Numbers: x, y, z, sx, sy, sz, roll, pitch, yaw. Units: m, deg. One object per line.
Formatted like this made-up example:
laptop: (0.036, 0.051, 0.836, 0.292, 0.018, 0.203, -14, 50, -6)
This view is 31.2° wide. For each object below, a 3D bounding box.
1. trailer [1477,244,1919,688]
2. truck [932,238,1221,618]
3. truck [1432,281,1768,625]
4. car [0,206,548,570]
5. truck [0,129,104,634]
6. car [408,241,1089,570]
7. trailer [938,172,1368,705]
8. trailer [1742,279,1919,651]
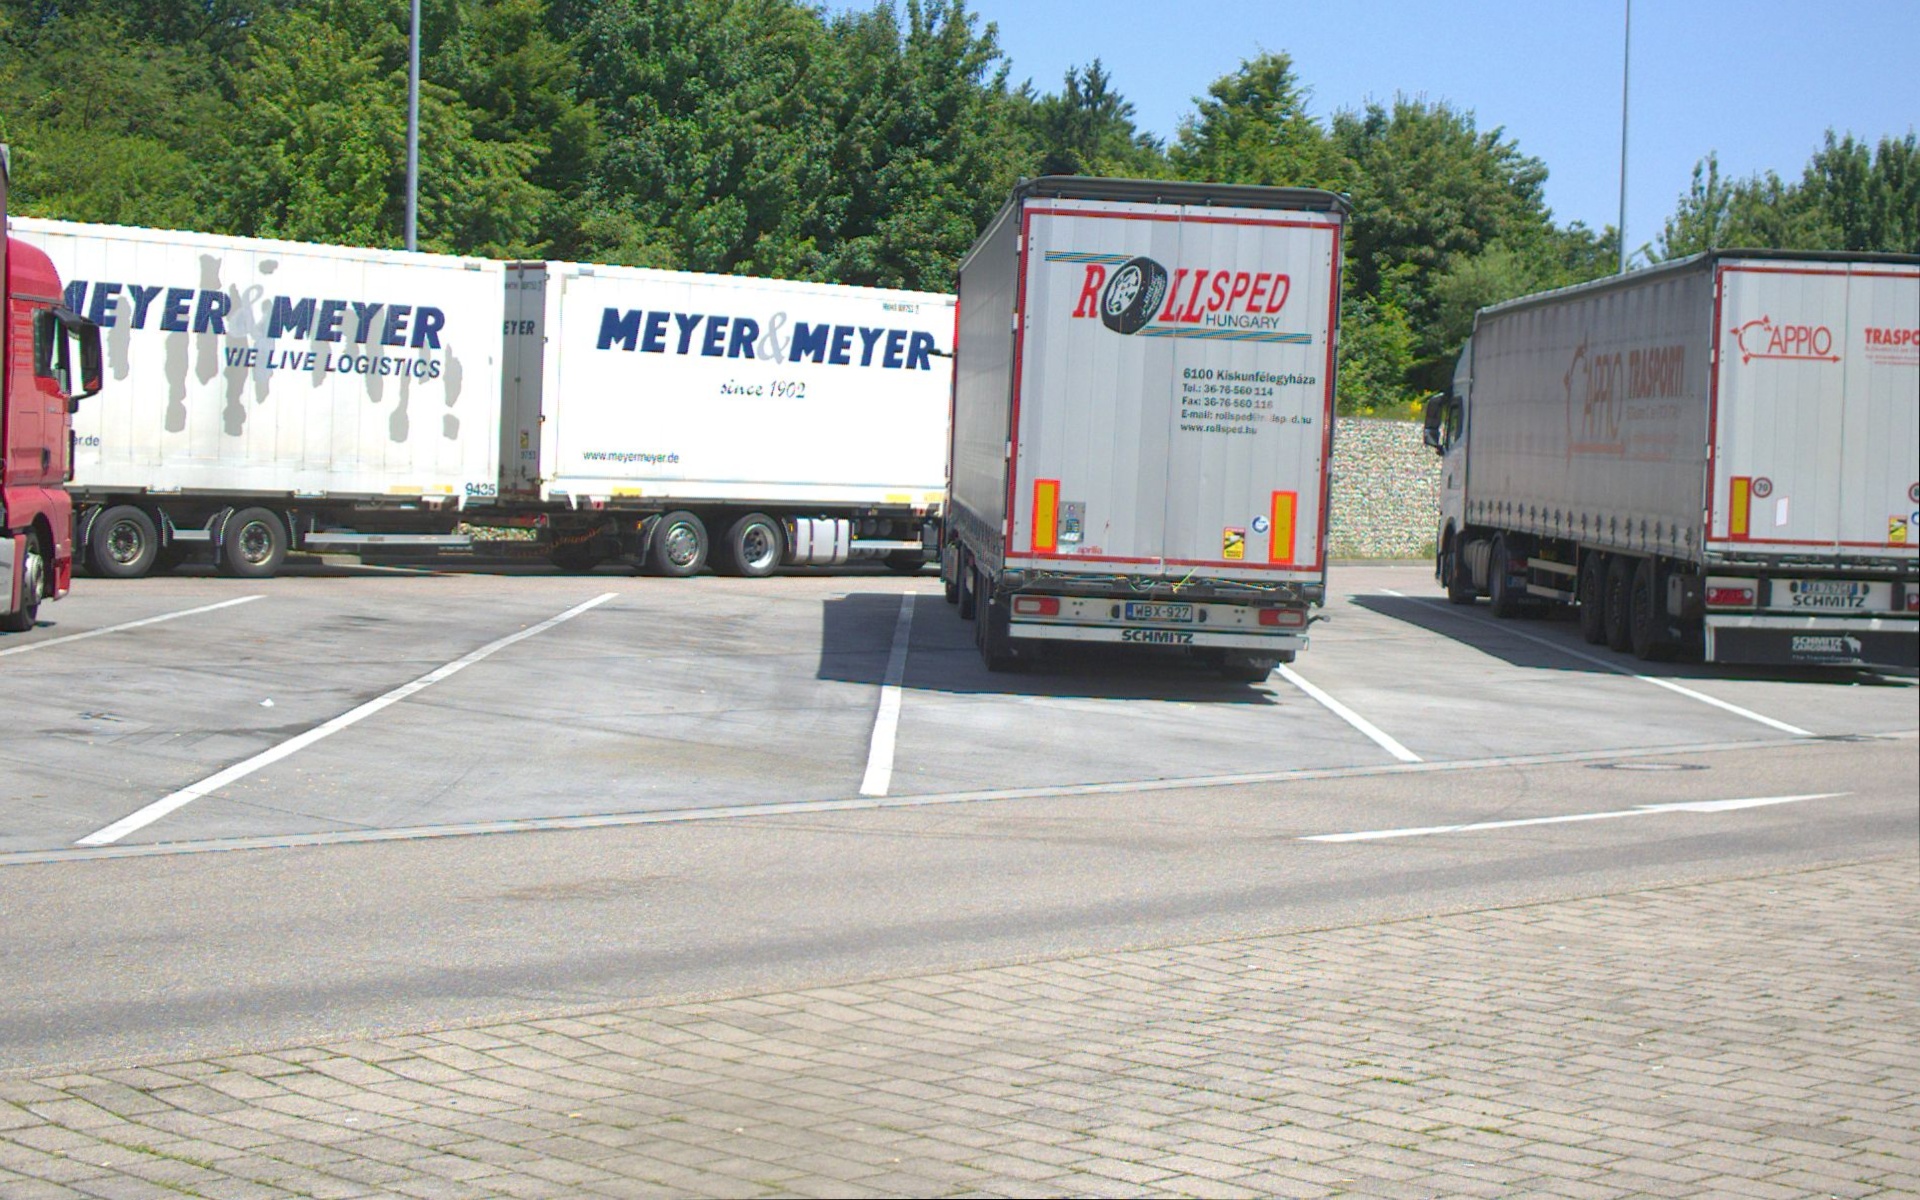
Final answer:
trailer: (8.185, -1.566, 37.946, 2.866, 4.023, 12.439, 2, 3, 0)
truck: (1.228, -2.054, 40.689, 2.866, 4.023, 7.028, 2, 3, -2)
truck: (8.126, -1.949, 44.573, 2.866, 4.023, 6.957, 2, 3, 0)
car: (-9.213, -2.479, 41.624, 2.687, 4.030, 8.446, 6, 5, 44)
truck: (-9.149, -1.812, 27.972, 2.696, 4.099, 6.240, 2, 3, 0)
car: (-2.716, -2.610, 48.294, 2.687, 4.174, 10.190, 6, 5, 45)
trailer: (1.440, -1.635, 33.610, 2.866, 4.023, 14.243, 2, 3, -2)
trailer: (11.840, -1.526, 39.010, 2.866, 4.023, 12.439, 2, 3, 0)
